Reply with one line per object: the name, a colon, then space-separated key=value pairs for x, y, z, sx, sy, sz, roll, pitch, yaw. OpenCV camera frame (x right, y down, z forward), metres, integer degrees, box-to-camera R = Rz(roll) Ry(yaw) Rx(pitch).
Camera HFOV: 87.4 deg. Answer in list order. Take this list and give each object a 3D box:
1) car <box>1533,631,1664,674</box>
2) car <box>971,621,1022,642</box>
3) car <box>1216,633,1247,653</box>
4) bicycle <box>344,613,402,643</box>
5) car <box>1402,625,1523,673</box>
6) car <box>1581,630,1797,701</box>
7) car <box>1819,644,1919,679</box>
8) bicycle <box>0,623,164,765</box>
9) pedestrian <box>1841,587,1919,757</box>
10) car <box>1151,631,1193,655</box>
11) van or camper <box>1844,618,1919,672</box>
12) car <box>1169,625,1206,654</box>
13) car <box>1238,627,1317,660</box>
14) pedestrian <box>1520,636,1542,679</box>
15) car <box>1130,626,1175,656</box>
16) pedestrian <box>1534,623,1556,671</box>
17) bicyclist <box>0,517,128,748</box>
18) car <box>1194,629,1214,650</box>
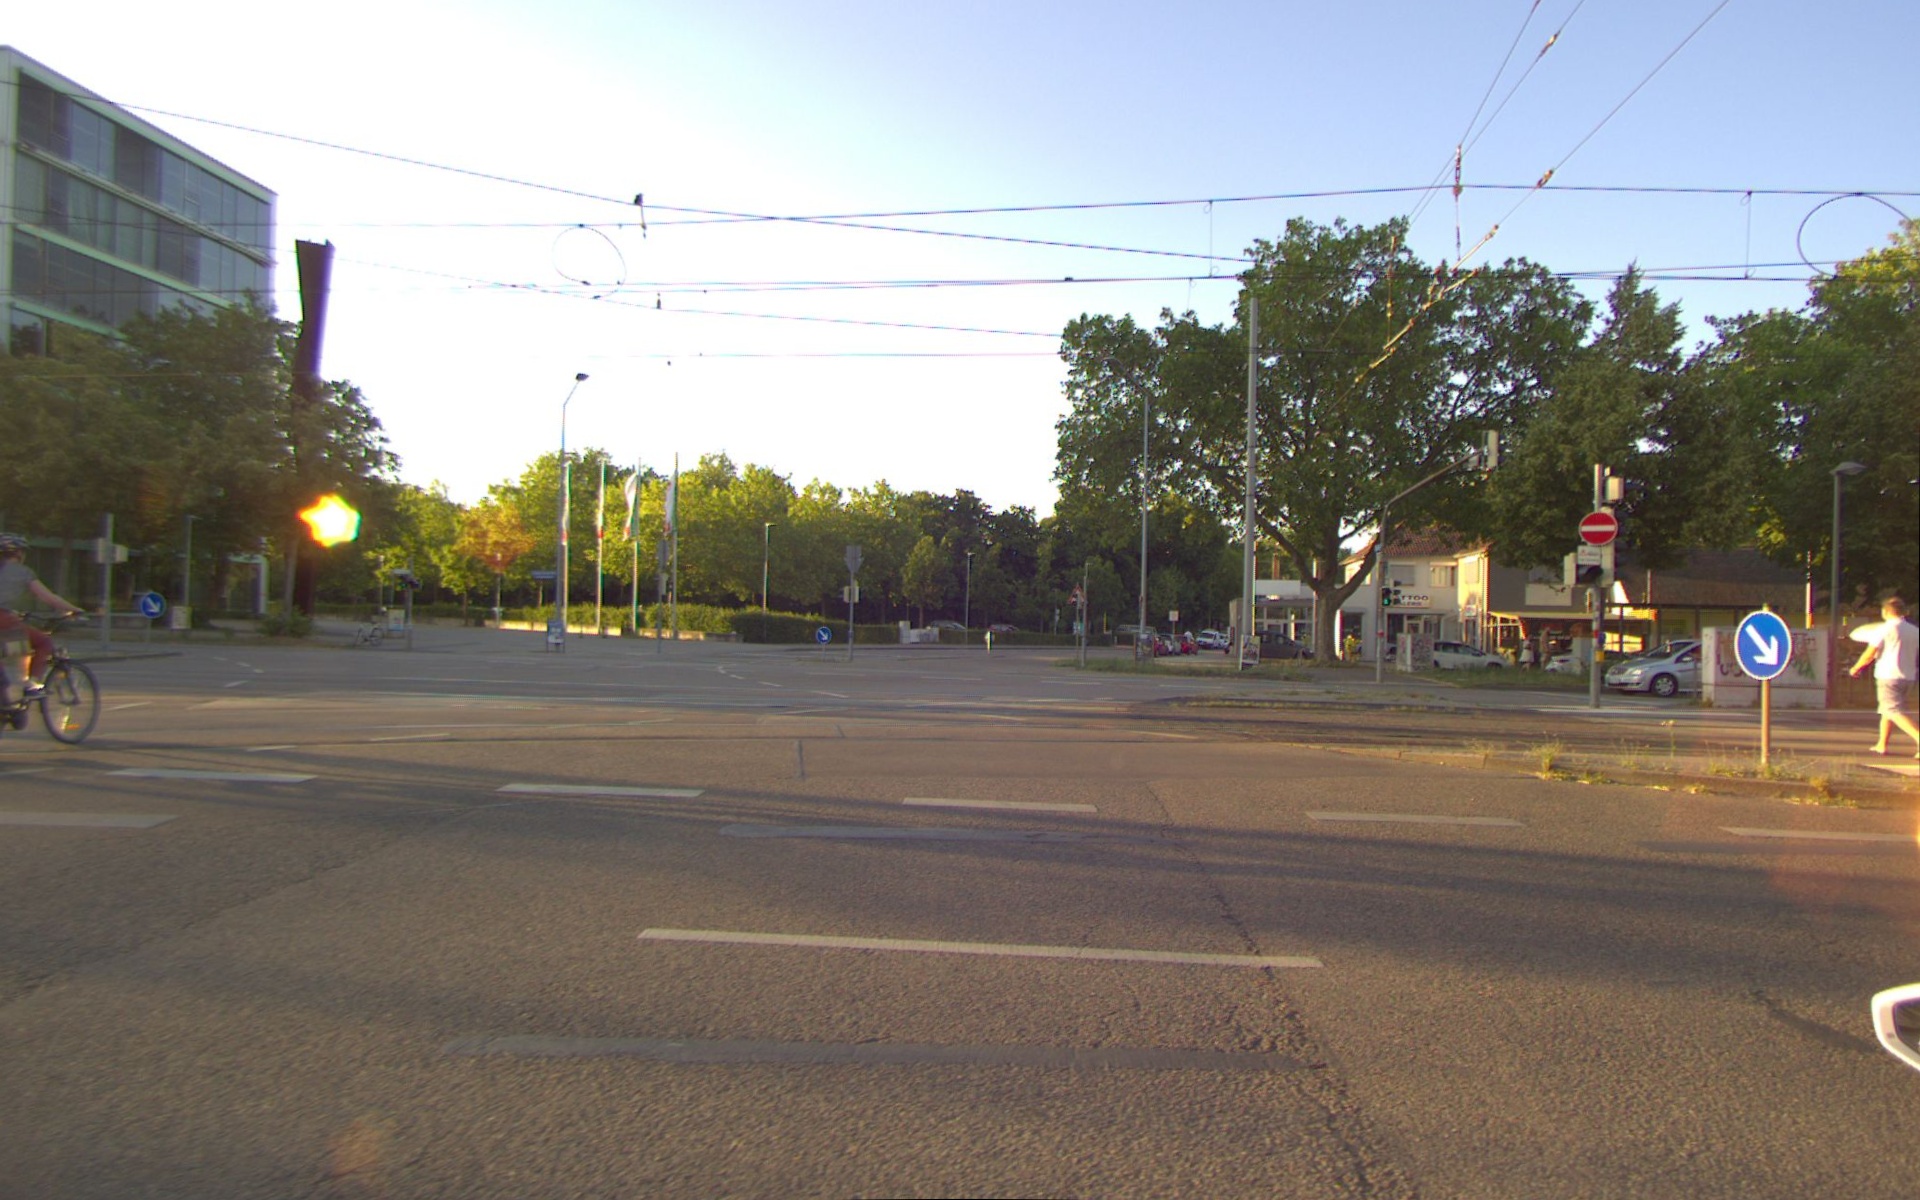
car: x=26.454 y=2.152 z=41.747 sx=4.157 sy=1.598 sz=2.001 roll=1 pitch=-1 yaw=10
car: x=3.037 y=2.561 z=82.599 sx=3.919 sy=1.581 sz=2.001 roll=1 pitch=-1 yaw=9
car: x=23.218 y=3.647 z=85.684 sx=1.885 sy=1.624 sz=3.997 roll=1 pitch=-1 yaw=25
bicycle: x=-22.946 y=1.092 z=39.328 sx=0.687 sy=1.151 sz=2.394 roll=1 pitch=-1 yaw=5
car: x=21.320 y=2.049 z=42.772 sx=4.157 sy=1.871 sz=2.001 roll=1 pitch=-1 yaw=10
car: x=19.687 y=1.747 z=27.276 sx=4.457 sy=1.750 sz=1.863 roll=1 pitch=-1 yaw=3
car: x=38.172 y=2.516 z=41.101 sx=4.157 sy=1.317 sz=1.928 roll=1 pitch=-1 yaw=10
bicycle: x=-7.666 y=0.737 z=8.081 sx=0.623 sy=1.082 sz=2.124 roll=1 pitch=-1 yaw=7
pedestrian: x=10.380 y=0.787 z=11.190 sx=0.752 sy=1.814 sz=0.799 roll=2 pitch=-1 yaw=37
car: x=15.000 y=3.035 z=70.871 sx=1.963 sy=1.595 sz=3.996 roll=1 pitch=-1 yaw=27
van or camper: x=45.764 y=2.179 z=46.908 sx=6.451 sy=2.441 sz=2.266 roll=1 pitch=-2 yaw=12
car: x=16.904 y=2.919 z=74.477 sx=1.885 sy=2.074 sz=3.997 roll=1 pitch=-1 yaw=25
car: x=18.846 y=2.553 z=59.738 sx=4.302 sy=1.859 sz=1.950 roll=1 pitch=-1 yaw=12
pedestrian: x=22.431 y=2.246 z=39.480 sx=0.708 sy=1.660 sz=0.895 roll=1 pitch=-1 yaw=31
car: x=12.942 y=2.758 z=67.316 sx=1.840 sy=1.899 sz=3.869 roll=1 pitch=-1 yaw=28
pedestrian: x=22.256 y=1.783 z=38.209 sx=0.708 sy=1.777 sz=0.895 roll=1 pitch=-1 yaw=31
bicyclist: x=-7.663 y=0.249 z=8.100 sx=1.014 sy=1.740 sz=0.996 roll=1 pitch=-1 yaw=7
car: x=24.677 y=3.959 z=101.508 sx=1.960 sy=2.040 sz=4.002 roll=1 pitch=-1 yaw=14
